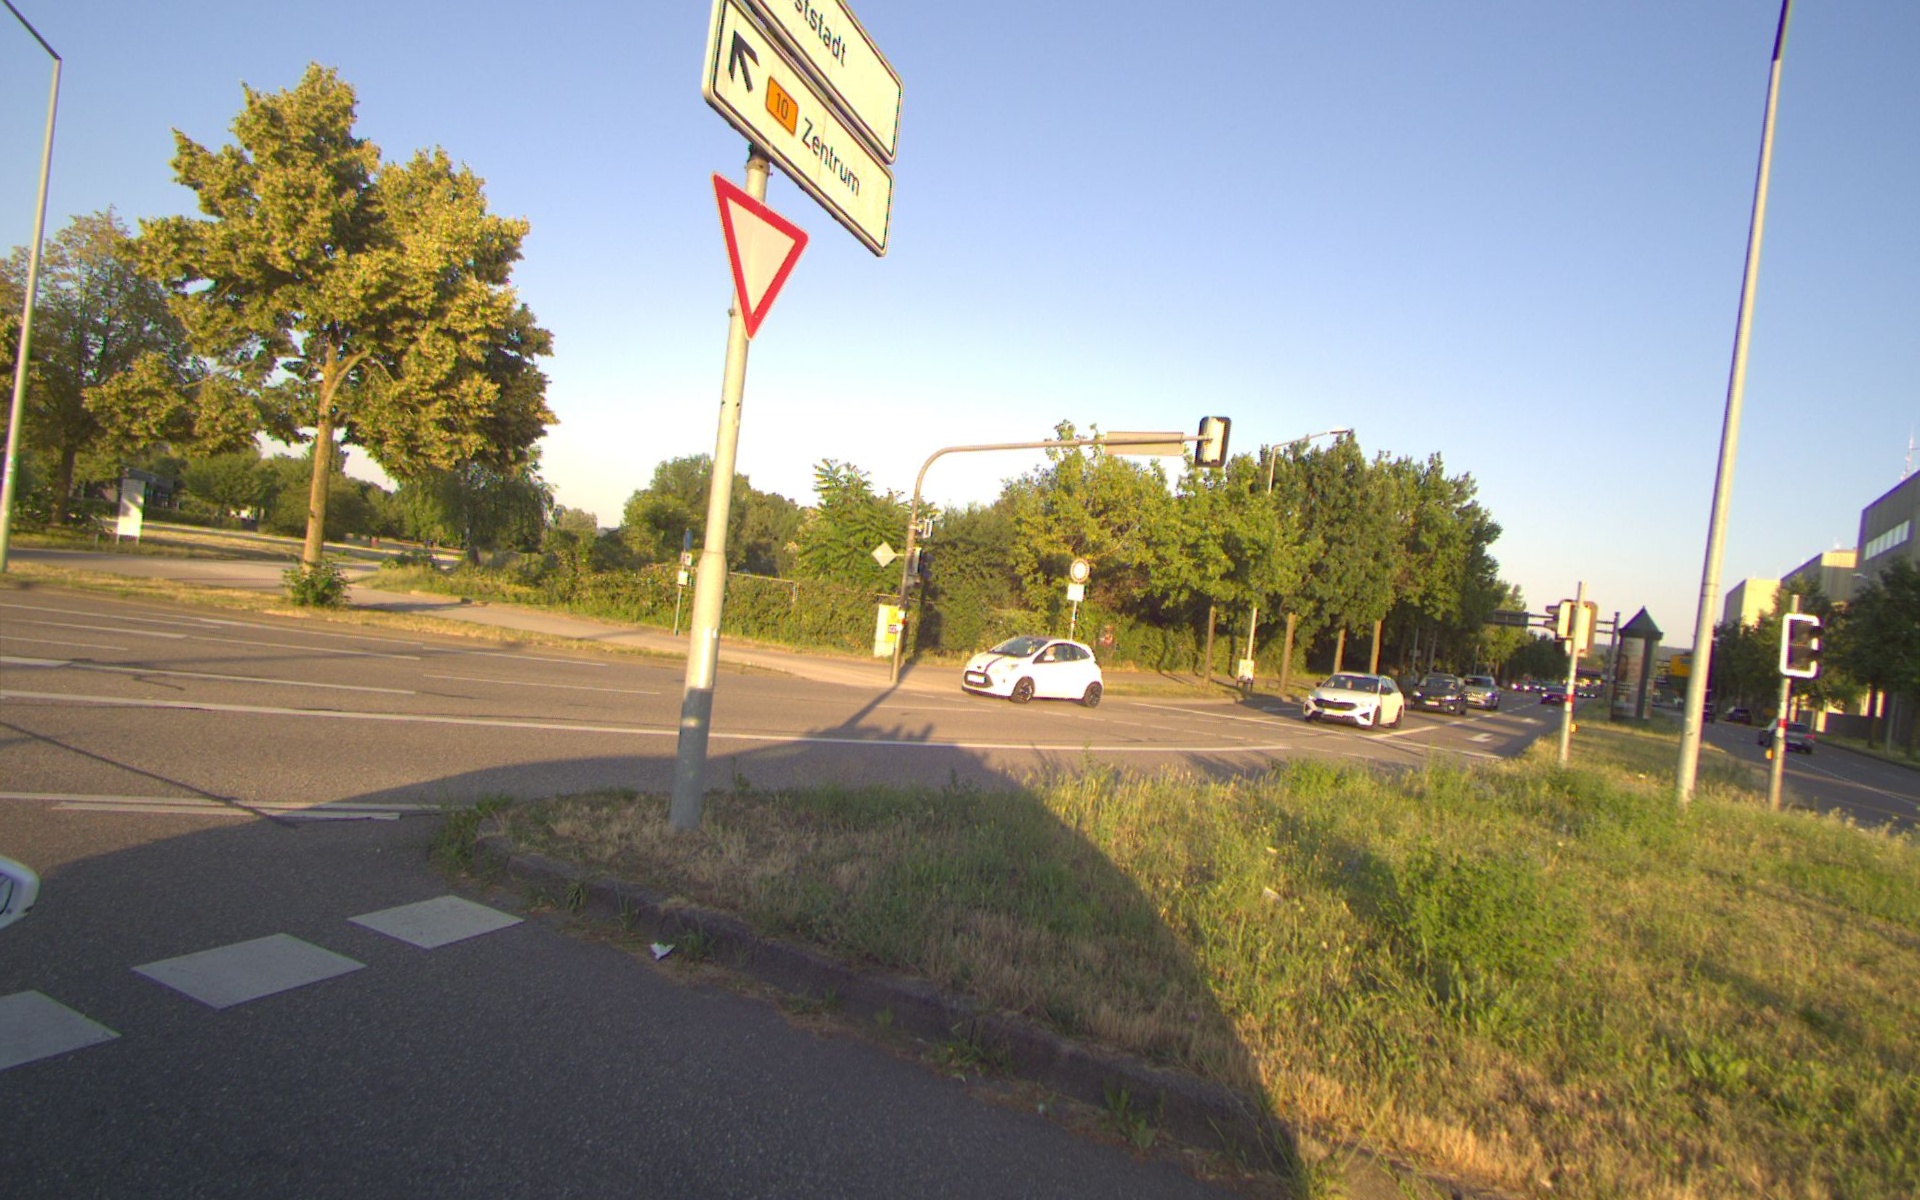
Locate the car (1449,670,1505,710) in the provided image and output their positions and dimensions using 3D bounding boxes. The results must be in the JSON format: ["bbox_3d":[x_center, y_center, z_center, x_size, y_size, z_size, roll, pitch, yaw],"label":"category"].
[{"bbox_3d":[27.310,4.773,53.023,1.892,1.775,4.909,6,-2,34],"label":"car"}]

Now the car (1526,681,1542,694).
[{"bbox_3d":[76.330,11.626,133.760,1.593,1.537,3.708,6,-1,33],"label":"car"}]

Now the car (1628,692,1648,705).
[{"bbox_3d":[99.071,14.437,147.085,1.966,1.489,3.992,8,0,31],"label":"car"}]

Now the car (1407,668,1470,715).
[{"bbox_3d":[20.274,3.871,42.521,1.774,1.652,4.447,6,-1,32],"label":"car"}]

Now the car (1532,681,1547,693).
[{"bbox_3d":[86.288,13.017,149.684,1.593,1.537,3.708,6,-1,33],"label":"car"}]

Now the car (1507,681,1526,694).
[{"bbox_3d":[67.115,10.545,121.261,1.593,1.324,3.708,6,-1,33],"label":"car"}]

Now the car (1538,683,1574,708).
[{"bbox_3d":[44.080,7.059,74.362,1.816,1.478,4.570,8,-1,34],"label":"car"}]

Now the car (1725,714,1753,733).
[{"bbox_3d":[74.462,11.780,96.192,1.724,1.507,4.123,8,0,35],"label":"car"}]

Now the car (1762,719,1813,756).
[{"bbox_3d":[40.923,6.778,49.746,1.726,1.441,4.116,8,0,40],"label":"car"}]

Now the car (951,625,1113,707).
[{"bbox_3d":[1.653,1.504,22.488,3.463,1.460,1.536,8,-1,-42],"label":"car"}]

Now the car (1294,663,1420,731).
[{"bbox_3d":[10.753,2.626,27.058,1.703,1.466,4.530,7,-1,40],"label":"car"}]

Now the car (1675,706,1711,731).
[{"bbox_3d":[60.261,9.722,82.738,1.788,1.544,4.127,8,0,31],"label":"car"}]
